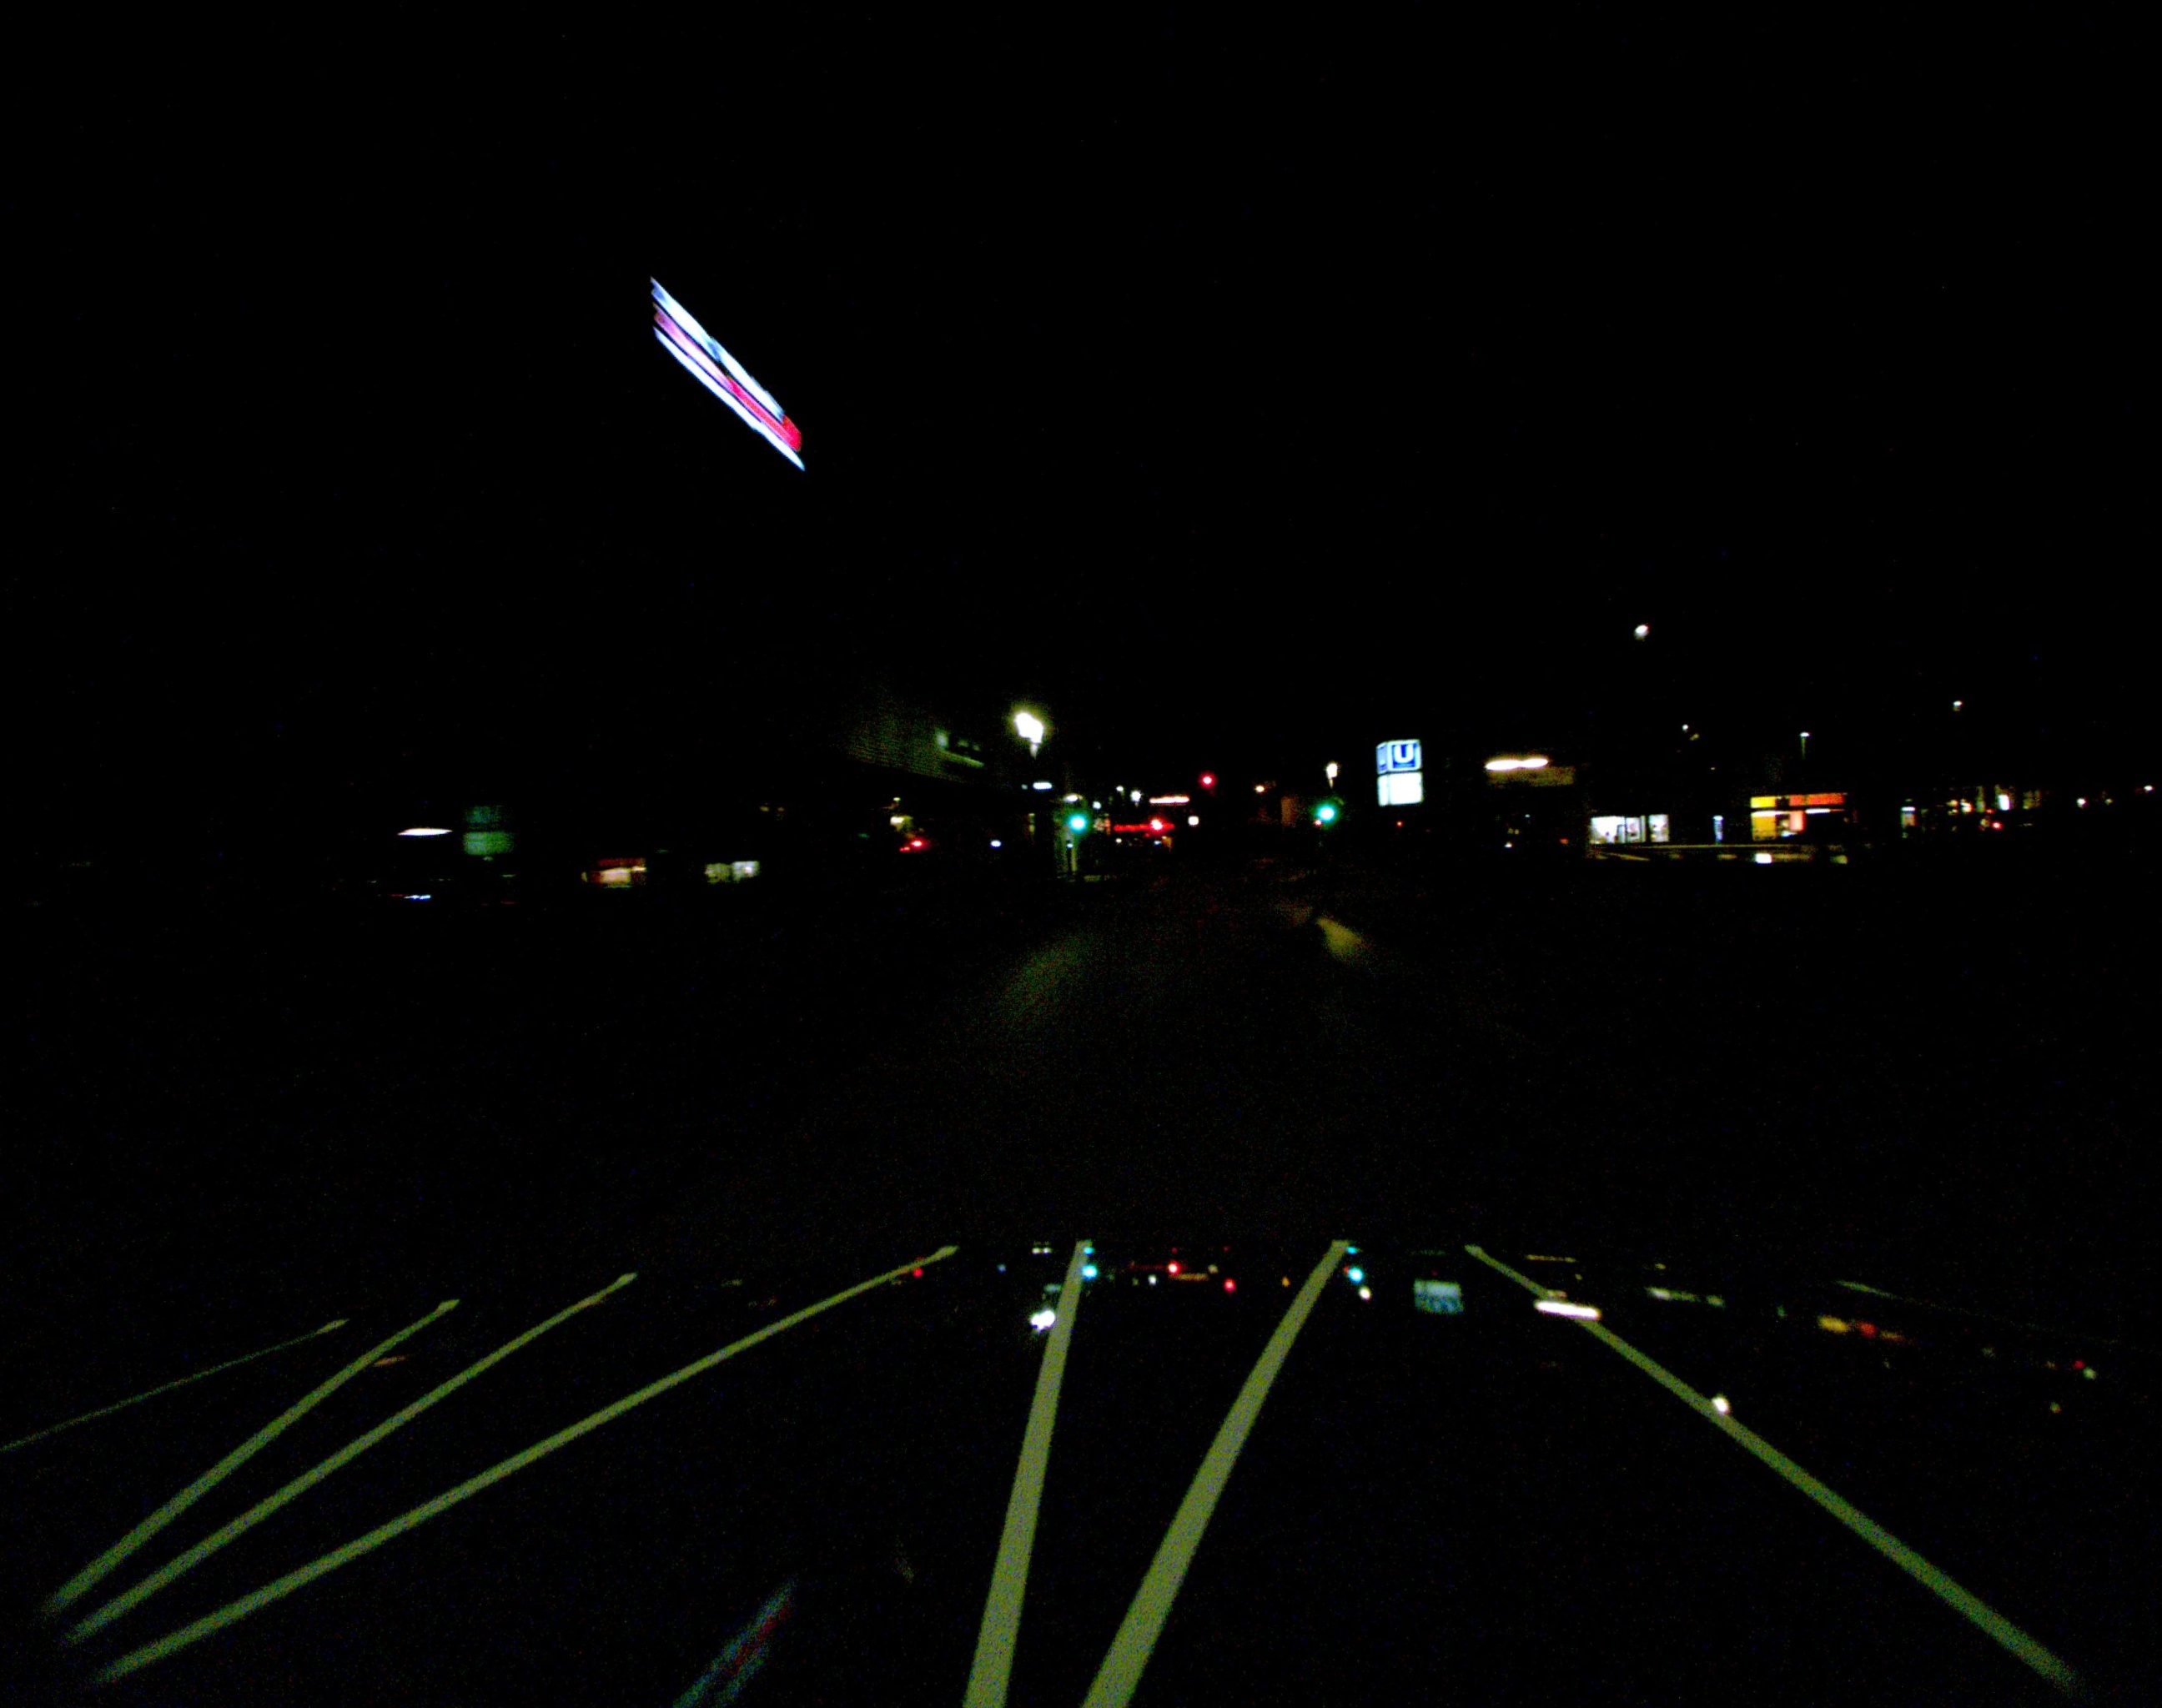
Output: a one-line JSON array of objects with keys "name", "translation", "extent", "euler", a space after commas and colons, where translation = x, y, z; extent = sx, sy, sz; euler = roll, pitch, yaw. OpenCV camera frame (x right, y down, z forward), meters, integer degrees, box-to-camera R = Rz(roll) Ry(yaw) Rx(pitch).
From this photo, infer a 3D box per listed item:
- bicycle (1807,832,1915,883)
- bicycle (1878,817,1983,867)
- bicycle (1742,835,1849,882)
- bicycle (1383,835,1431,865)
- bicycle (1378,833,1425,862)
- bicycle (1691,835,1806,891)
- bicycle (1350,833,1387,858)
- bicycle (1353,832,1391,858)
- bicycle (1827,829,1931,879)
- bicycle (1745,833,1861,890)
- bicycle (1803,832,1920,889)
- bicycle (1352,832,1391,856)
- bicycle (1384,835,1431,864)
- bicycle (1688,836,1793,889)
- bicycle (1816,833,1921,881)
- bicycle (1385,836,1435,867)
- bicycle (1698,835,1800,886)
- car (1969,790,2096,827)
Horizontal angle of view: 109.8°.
[{"name": "bicycle", "translation": [18.219, 0.075, 17.811], "extent": [0.609, 1.118, 1.746], "euler": [-2, 0, -6]}, {"name": "bicycle", "translation": [21.531, -0.292, 19.316], "extent": [0.609, 1.211, 1.746], "euler": [-2, 0, -6]}, {"name": "bicycle", "translation": [17.122, 0.114, 18.257], "extent": [0.609, 1.063, 1.744], "euler": [-2, 0, -24]}, {"name": "bicycle", "translation": [12.922, -0.156, 30.177], "extent": [1.619, 1.099, 0.670], "euler": [-3, 2, 11]}, {"name": "bicycle", "translation": [13.852, -0.283, 32.868], "extent": [1.772, 1.157, 0.670], "euler": [-2, 2, 11]}, {"name": "bicycle", "translation": [14.595, 0.191, 16.672], "extent": [0.762, 1.155, 1.744], "euler": [-2, 0, -21]}, {"name": "bicycle", "translation": [15.286, -0.456, 40.427], "extent": [1.737, 1.151, 0.788], "euler": [-5, 2, 17]}, {"name": "bicycle", "translation": [15.108, -0.467, 39.471], "extent": [1.737, 1.160, 0.788], "euler": [-5, 0, 17]}, {"name": "bicycle", "translation": [19.670, 0.004, 18.788], "extent": [0.609, 1.159, 1.746], "euler": [-2, 0, -6]}, {"name": "bicycle", "translation": [15.849, 0.162, 16.737], "extent": [0.609, 1.159, 1.744], "euler": [-2, 0, -21]}, {"name": "bicycle", "translation": [16.772, 0.132, 16.392], "extent": [0.609, 1.159, 1.746], "euler": [-2, 0, -6]}, {"name": "bicycle", "translation": [15.930, -0.558, 41.726], "extent": [1.836, 1.151, 0.788], "euler": [-5, 2, 17]}, {"name": "bicycle", "translation": [13.239, -0.180, 30.880], "extent": [1.618, 1.099, 0.670], "euler": [-2, 2, 11]}, {"name": "bicycle", "translation": [15.069, 0.189, 17.414], "extent": [0.545, 1.148, 1.744], "euler": [-2, 0, -21]}, {"name": "bicycle", "translation": [19.002, 0.063, 18.389], "extent": [0.609, 1.094, 1.746], "euler": [-2, 0, -6]}, {"name": "bicycle", "translation": [12.514, -0.091, 28.926], "extent": [1.619, 1.099, 0.670], "euler": [-3, 2, 11]}, {"name": "bicycle", "translation": [15.953, 0.161, 18.200], "extent": [0.609, 1.159, 1.744], "euler": [-2, 0, -21]}, {"name": "car", "translation": [57.932, -2.738, 46.393], "extent": [4.407, 1.925, 1.964], "euler": [-2, 0, 26]}]
